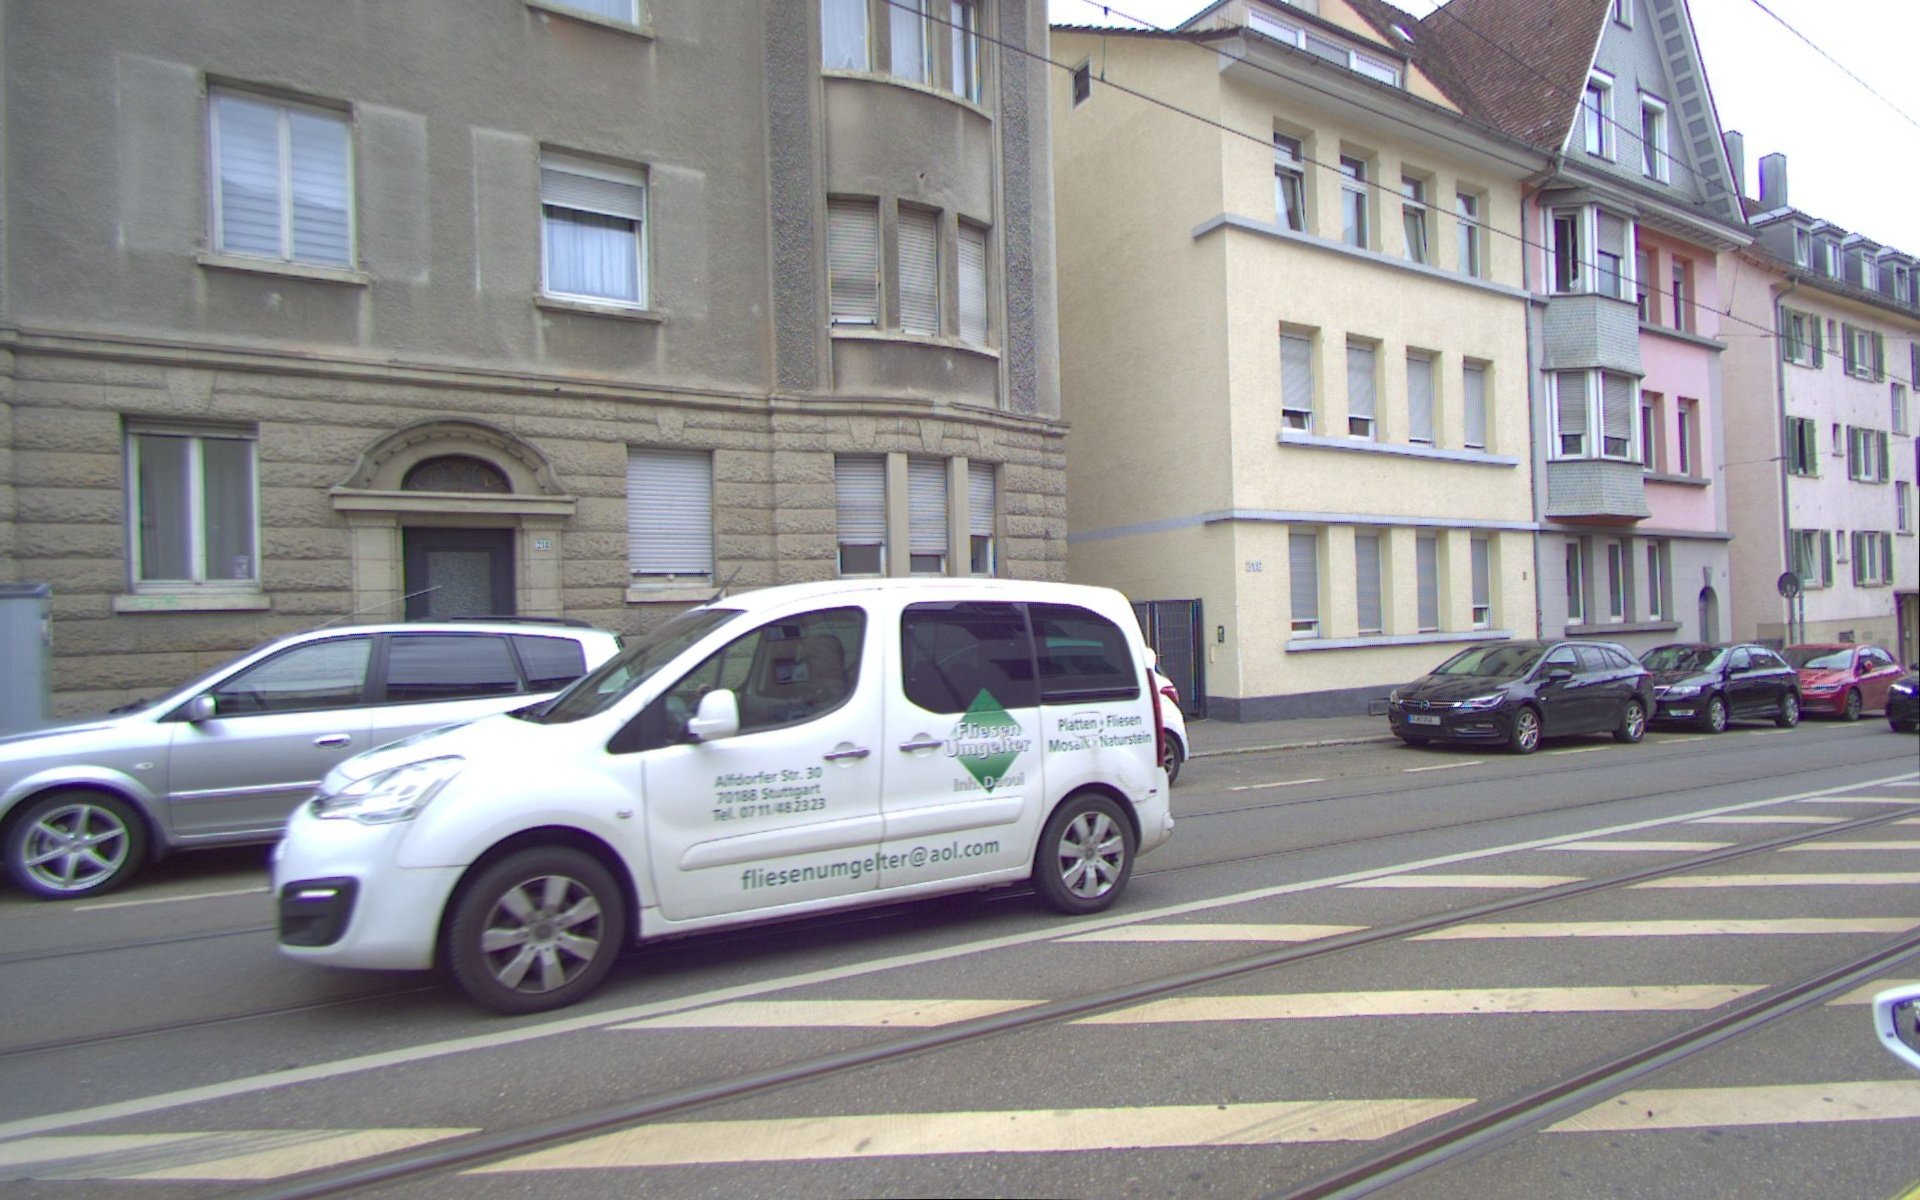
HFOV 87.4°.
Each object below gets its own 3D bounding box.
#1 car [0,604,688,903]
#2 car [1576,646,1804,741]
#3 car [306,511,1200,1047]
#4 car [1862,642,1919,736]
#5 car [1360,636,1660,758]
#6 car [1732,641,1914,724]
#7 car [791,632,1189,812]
[{"bbox_3d":[-4.269,0.902,7.042,4.302,1.625,1.612,1,-3,-32],"label":"car"},{"bbox_3d":[12.520,1.521,17.184,3.953,1.428,1.728,2,-2,-30],"label":"car"},{"bbox_3d":[-0.921,0.693,5.368,4.169,1.842,1.912,2,-2,-31],"label":"car"},{"bbox_3d":[16.874,1.424,16.458,4.446,1.443,1.911,2,-2,-31],"label":"car"},{"bbox_3d":[7.811,1.306,14.158,4.502,1.492,1.613,2,-3,-30],"label":"car"},{"bbox_3d":[17.257,1.605,20.045,4.002,1.509,1.612,2,-4,-32],"label":"car"},{"bbox_3d":[0.345,1.106,9.910,3.642,1.482,1.613,2,-3,-30],"label":"car"}]
